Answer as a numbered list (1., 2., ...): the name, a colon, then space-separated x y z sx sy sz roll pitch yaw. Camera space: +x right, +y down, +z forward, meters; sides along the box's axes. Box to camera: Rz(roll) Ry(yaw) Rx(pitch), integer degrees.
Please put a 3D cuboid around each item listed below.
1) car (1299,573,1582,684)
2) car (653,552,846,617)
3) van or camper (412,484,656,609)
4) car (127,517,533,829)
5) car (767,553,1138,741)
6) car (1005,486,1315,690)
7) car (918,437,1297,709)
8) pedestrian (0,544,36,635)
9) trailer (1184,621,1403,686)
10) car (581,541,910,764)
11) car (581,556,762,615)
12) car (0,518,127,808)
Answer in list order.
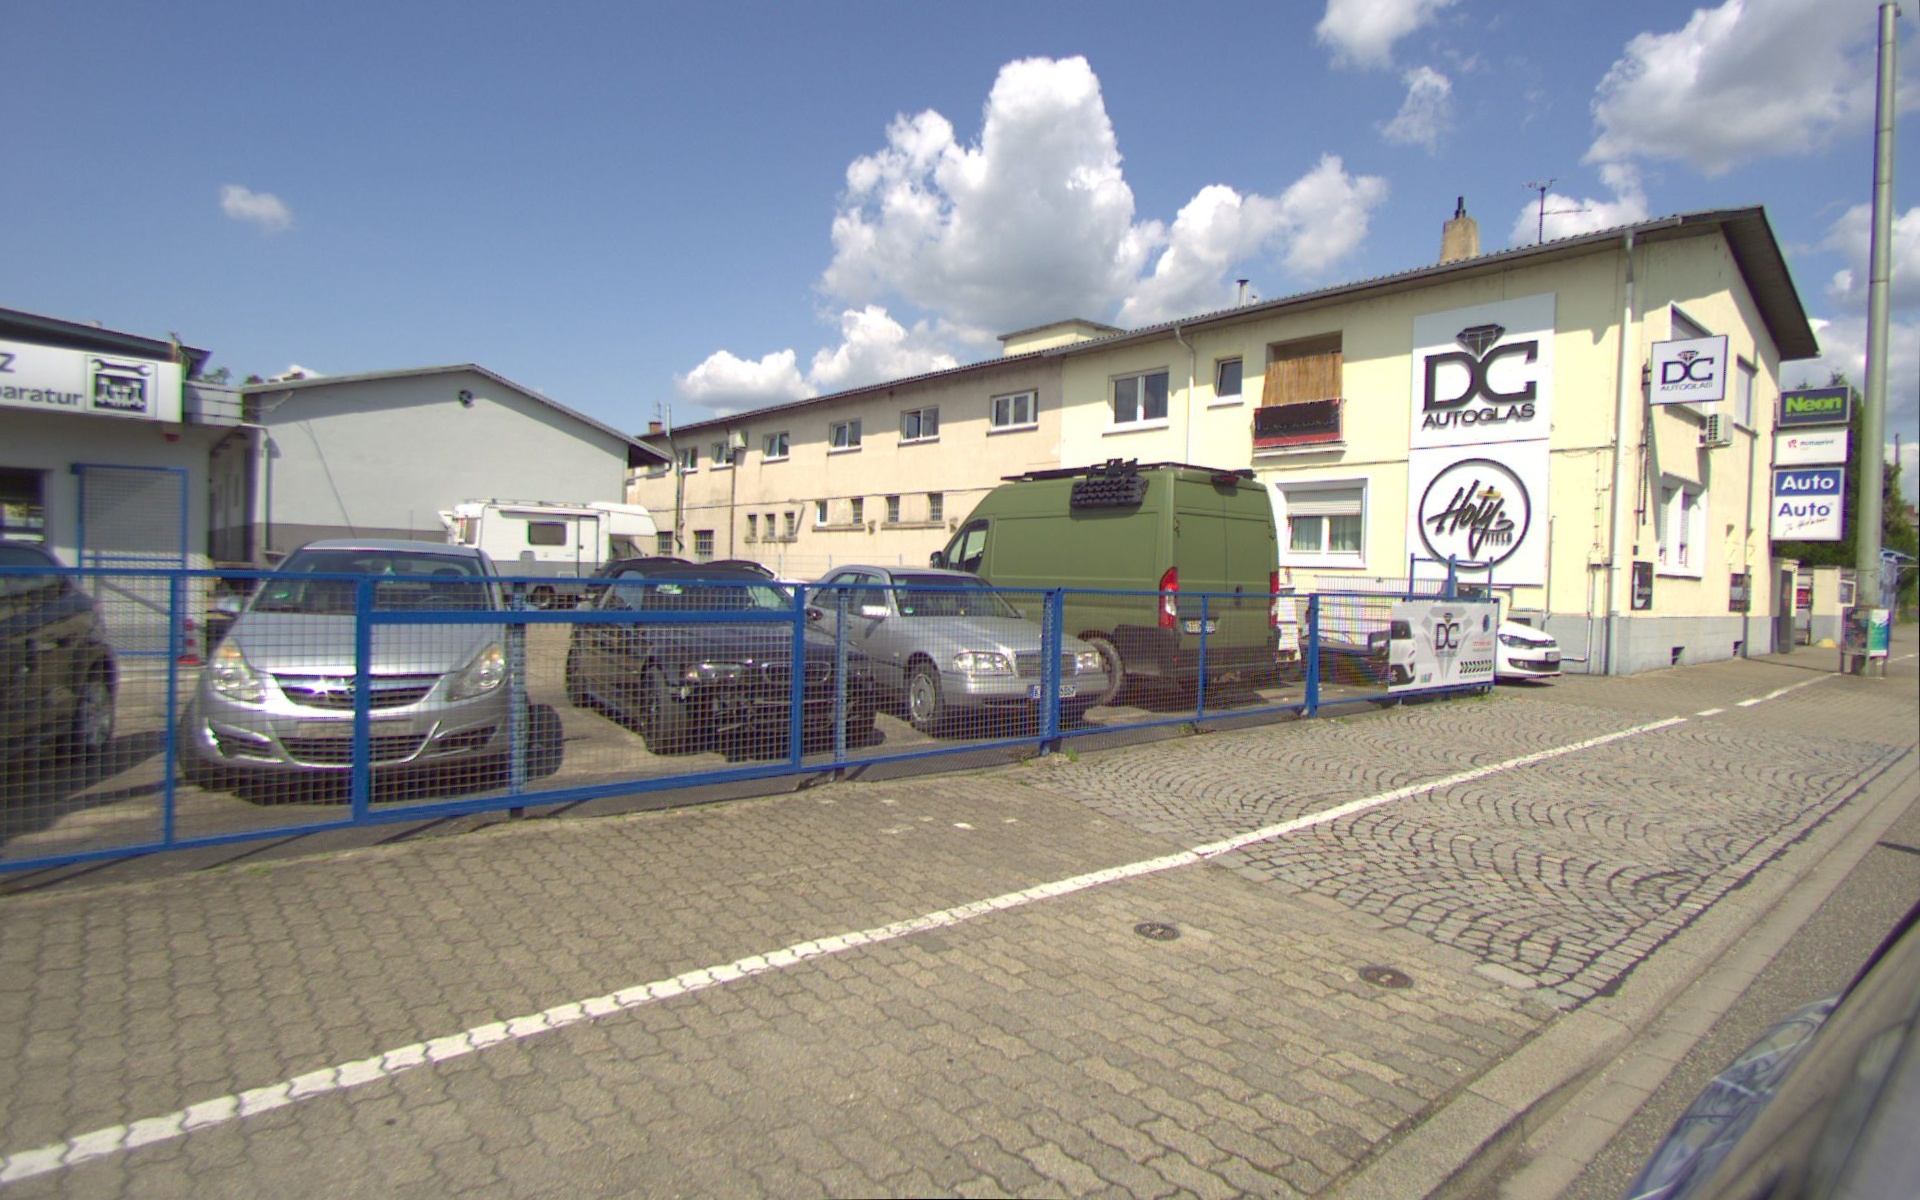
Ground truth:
1. car: 7.547 0.367 16.179 1.527 1.481 3.775 1 2 -39
2. car: -4.832 -0.344 23.548 4.112 1.378 1.645 0 2 -41
3. van or camper: -11.292 -1.321 27.111 5.556 3.002 2.272 0 2 -42
4. car: -3.886 0.285 6.841 1.736 1.470 3.778 1 2 -24
5. car: -0.326 0.291 10.203 1.679 1.470 4.292 1 2 -33
6. car: 2.633 -0.224 14.226 1.557 2.436 4.208 1 2 -39
7. car: 1.600 -0.345 12.256 2.075 2.675 4.208 1 2 -39
8. pedestrian: -13.149 -0.154 13.881 0.652 1.224 0.566 1 1 -39
9. trailer: 4.761 0.730 14.651 1.307 0.674 2.730 0 2 -42
10. car: -2.116 0.278 8.898 1.737 1.470 4.128 1 2 -28
11. car: -7.295 -0.355 25.811 4.112 1.378 1.645 0 2 -41
12. car: -5.625 0.308 4.869 1.606 1.470 3.701 1 2 -25
